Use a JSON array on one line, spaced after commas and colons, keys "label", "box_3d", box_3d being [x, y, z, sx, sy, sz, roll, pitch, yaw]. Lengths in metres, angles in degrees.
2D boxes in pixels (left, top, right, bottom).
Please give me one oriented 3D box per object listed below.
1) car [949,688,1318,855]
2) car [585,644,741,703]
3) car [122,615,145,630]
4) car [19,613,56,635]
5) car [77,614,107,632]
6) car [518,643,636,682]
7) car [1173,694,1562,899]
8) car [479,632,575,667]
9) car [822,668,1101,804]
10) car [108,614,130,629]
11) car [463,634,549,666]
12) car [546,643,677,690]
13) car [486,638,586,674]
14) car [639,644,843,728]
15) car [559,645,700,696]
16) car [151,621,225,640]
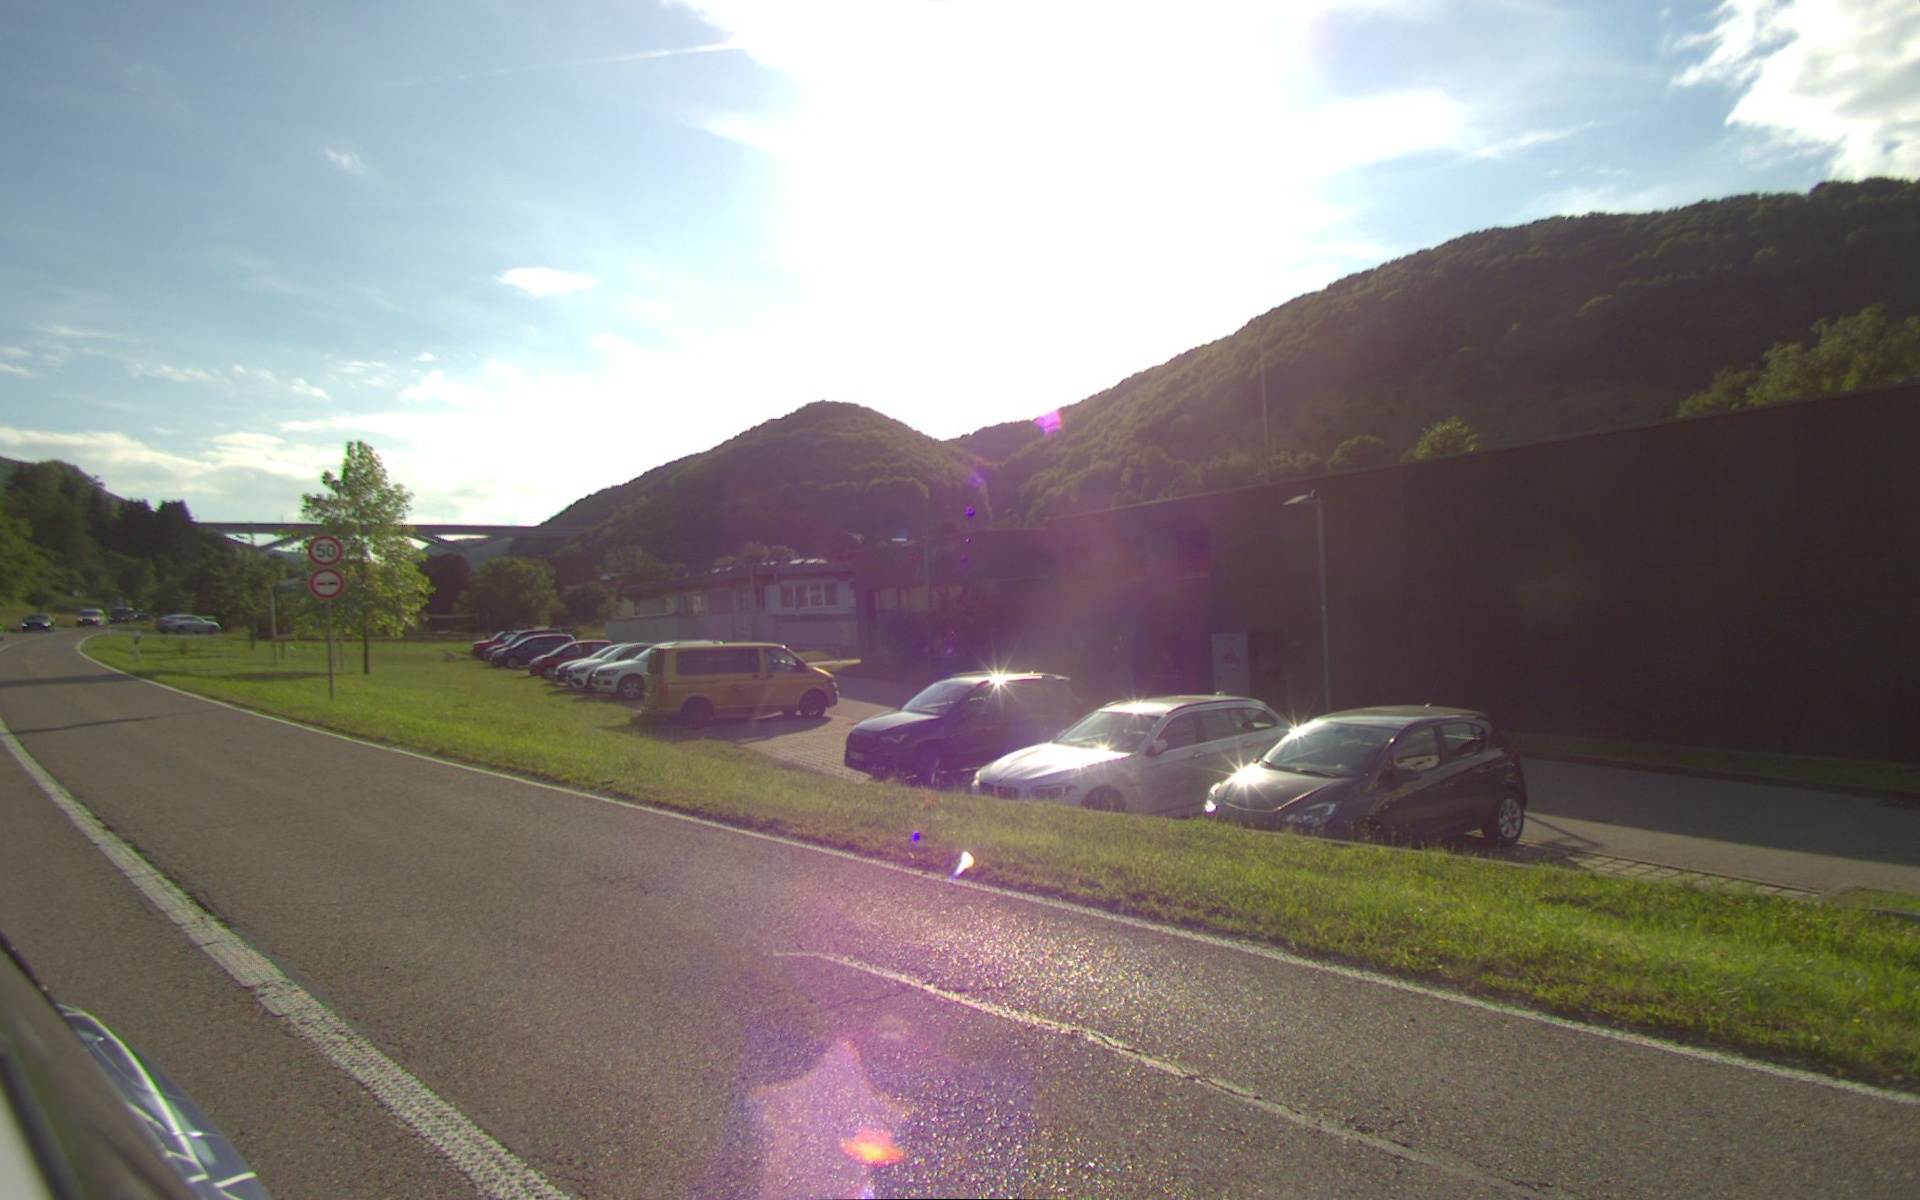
[{"label": "car", "box_3d": [2.297, 2.007, 12.888, 4.577, 1.508, 1.918, 1, -2, -34]}, {"label": "car", "box_3d": [-9.523, 2.305, 32.524, 4.477, 1.714, 2.006, 0, -2, -30]}, {"label": "car", "box_3d": [-107.828, 2.973, 132.040, 1.967, 1.730, 4.010, -2, -2, -34]}, {"label": "car", "box_3d": [-75.805, 1.986, 83.196, 1.883, 1.698, 4.008, 0, -2, -38]}, {"label": "car", "box_3d": [-89.848, 2.376, 104.825, 1.770, 1.749, 4.295, -1, -1, -33]}, {"label": "car", "box_3d": [-16.059, 2.593, 42.506, 4.370, 1.463, 2.006, 0, -2, -30]}, {"label": "car", "box_3d": [4.386, 1.913, 10.803, 3.932, 1.546, 1.839, 0, -2, -31]}, {"label": "car", "box_3d": [-23.668, 2.663, 55.395, 4.595, 1.776, 2.006, 0, -2, -31]}, {"label": "car", "box_3d": [0.087, 2.108, 16.699, 4.226, 1.650, 1.917, -2, -1, -35]}, {"label": "car", "box_3d": [-99.889, 2.582, 120.288, 1.652, 1.659, 3.355, 0, -1, -34]}, {"label": "car", "box_3d": [-26.778, 2.911, 59.726, 4.371, 1.733, 2.006, 0, -2, -31]}, {"label": "car", "box_3d": [-13.177, 2.464, 38.360, 4.371, 1.595, 2.006, 1, -2, -32]}, {"label": "car", "box_3d": [-21.418, 2.775, 51.125, 4.371, 1.595, 2.006, -1, -1, -31]}, {"label": "car", "box_3d": [-5.420, 2.058, 25.201, 4.583, 1.827, 2.006, 0, -2, -30]}, {"label": "car", "box_3d": [-11.548, 2.408, 35.393, 4.370, 1.599, 2.006, 0, -2, -30]}, {"label": "car", "box_3d": [-65.638, 2.578, 86.115, 1.983, 1.539, 4.746, -1, -1, 17]}]
